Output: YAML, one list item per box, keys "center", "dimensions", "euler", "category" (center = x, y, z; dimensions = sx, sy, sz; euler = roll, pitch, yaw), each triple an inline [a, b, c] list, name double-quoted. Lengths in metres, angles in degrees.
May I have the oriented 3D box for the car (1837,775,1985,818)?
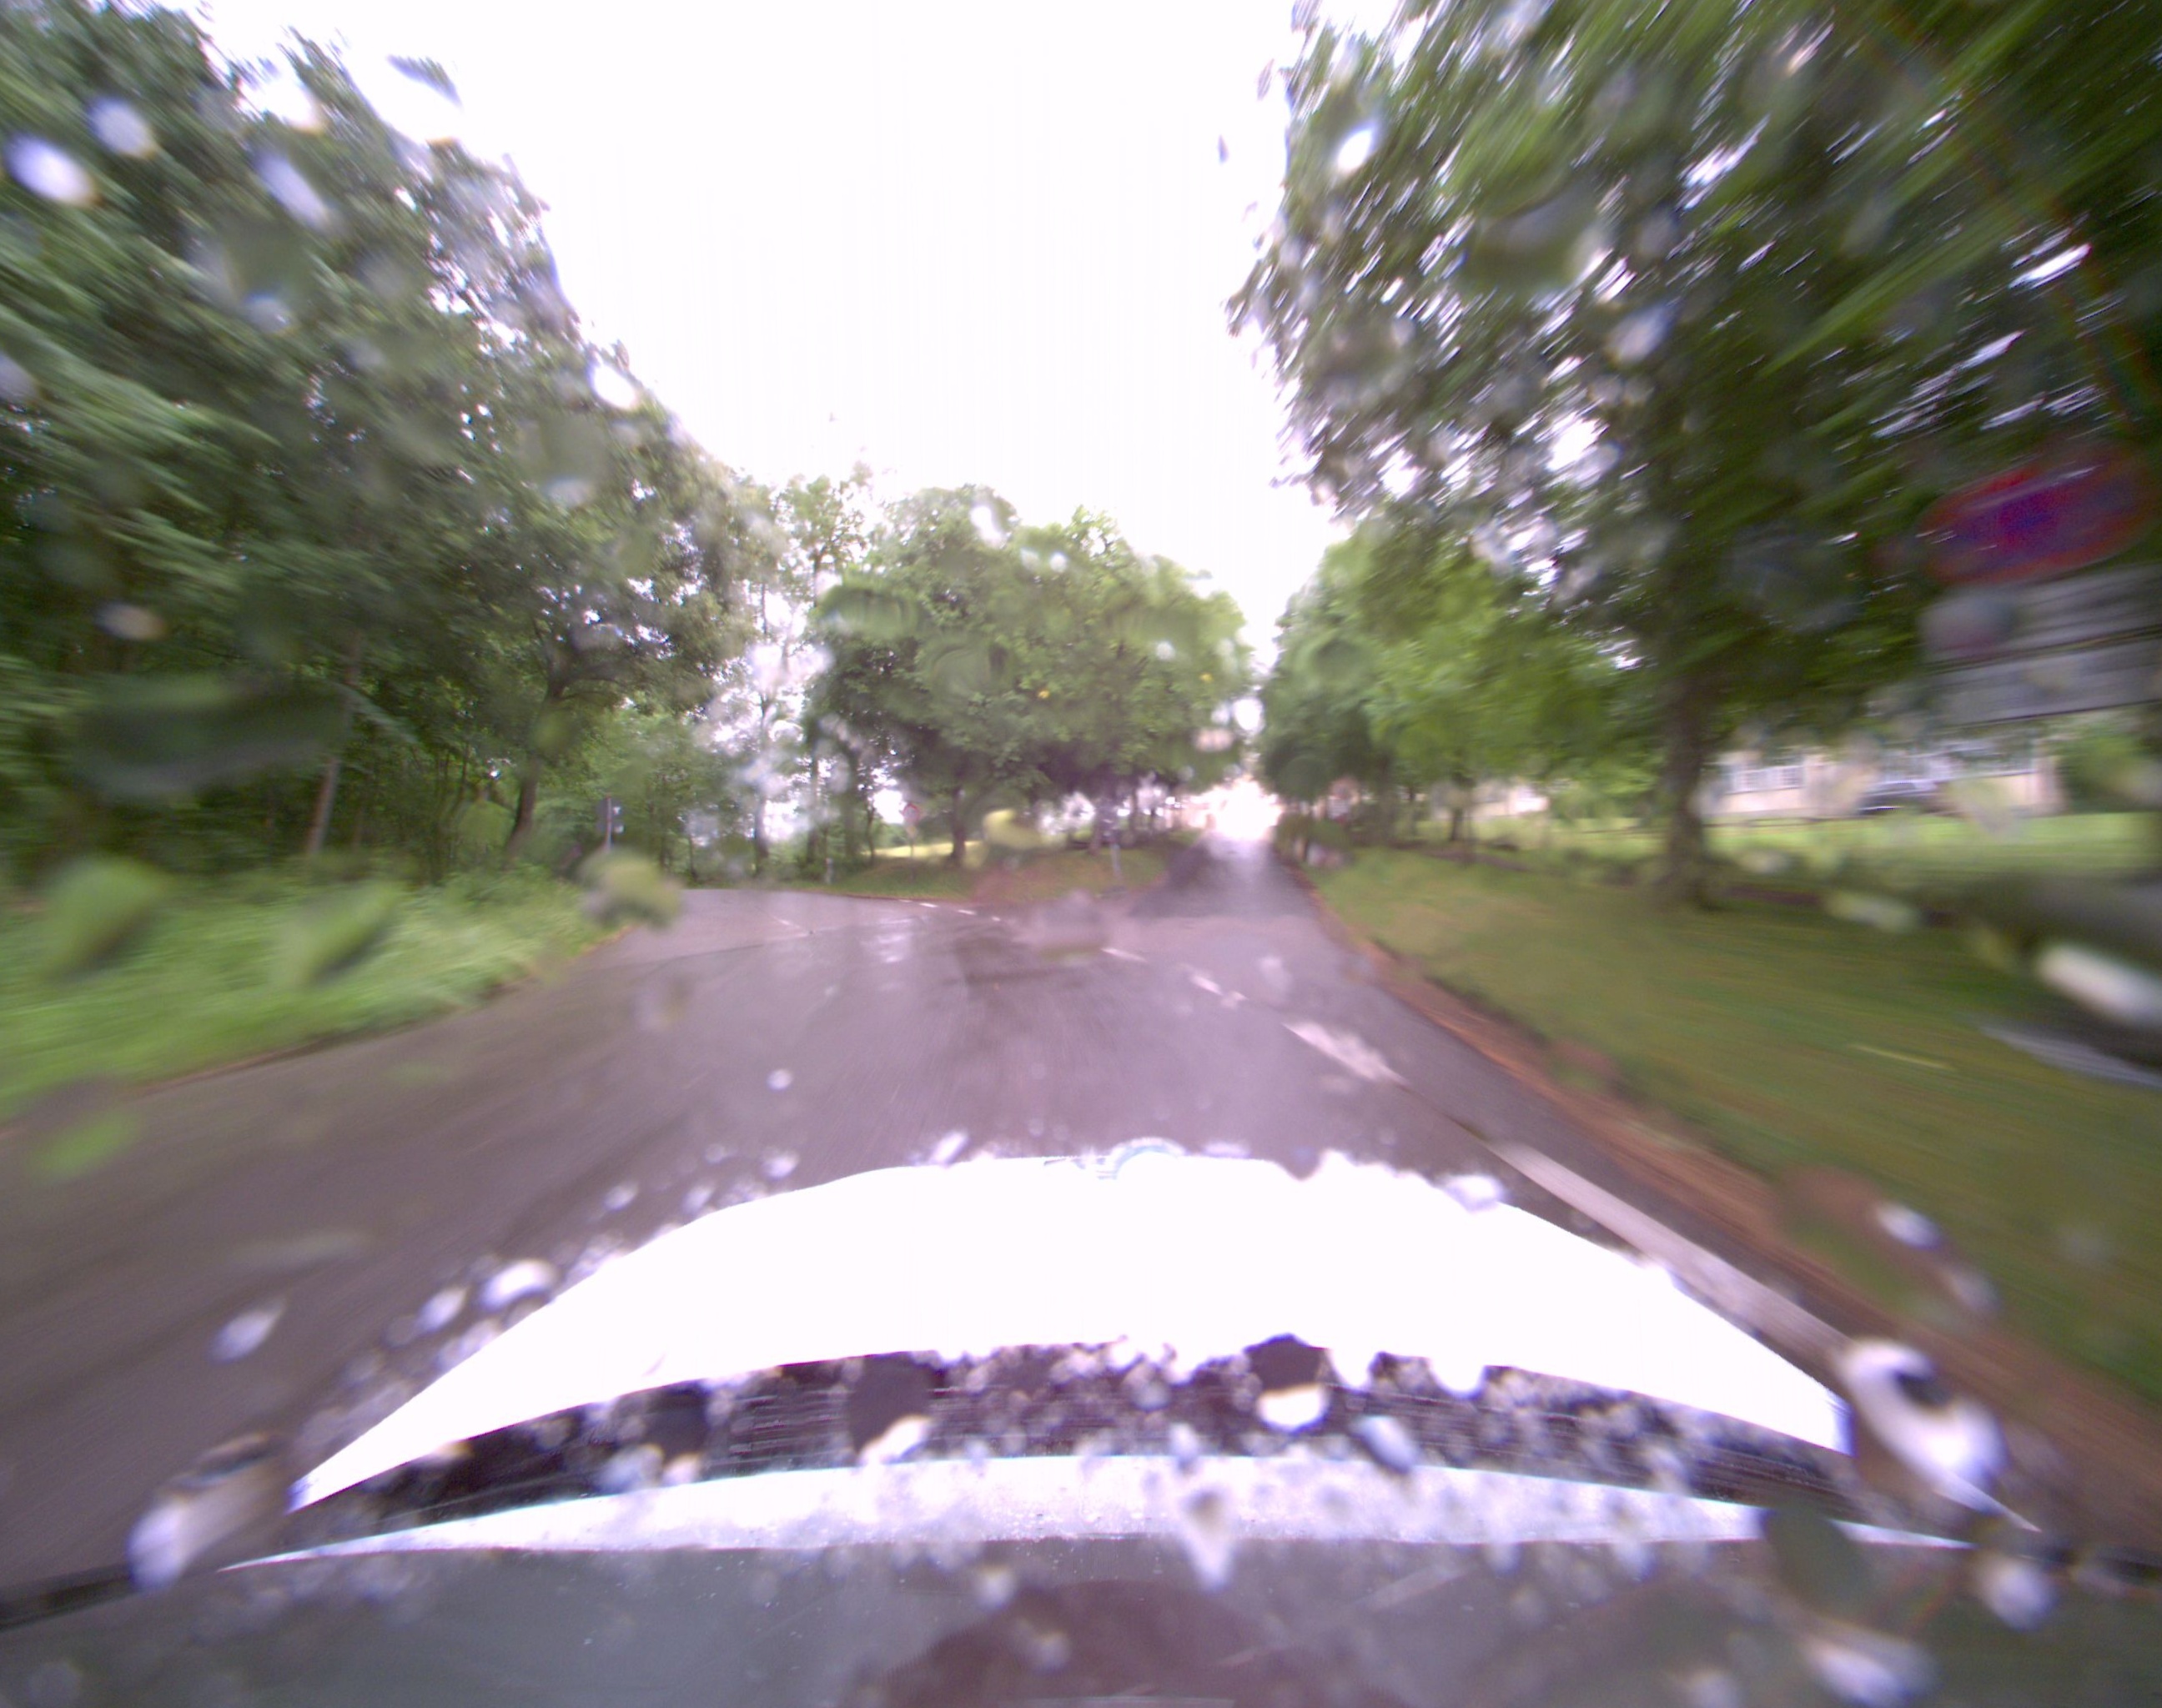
- center: [36.162, -2.445, 35.678]
  dimensions: [1.985, 1.508, 4.512]
  euler: [-4, 1, 3]
  category: "car"
